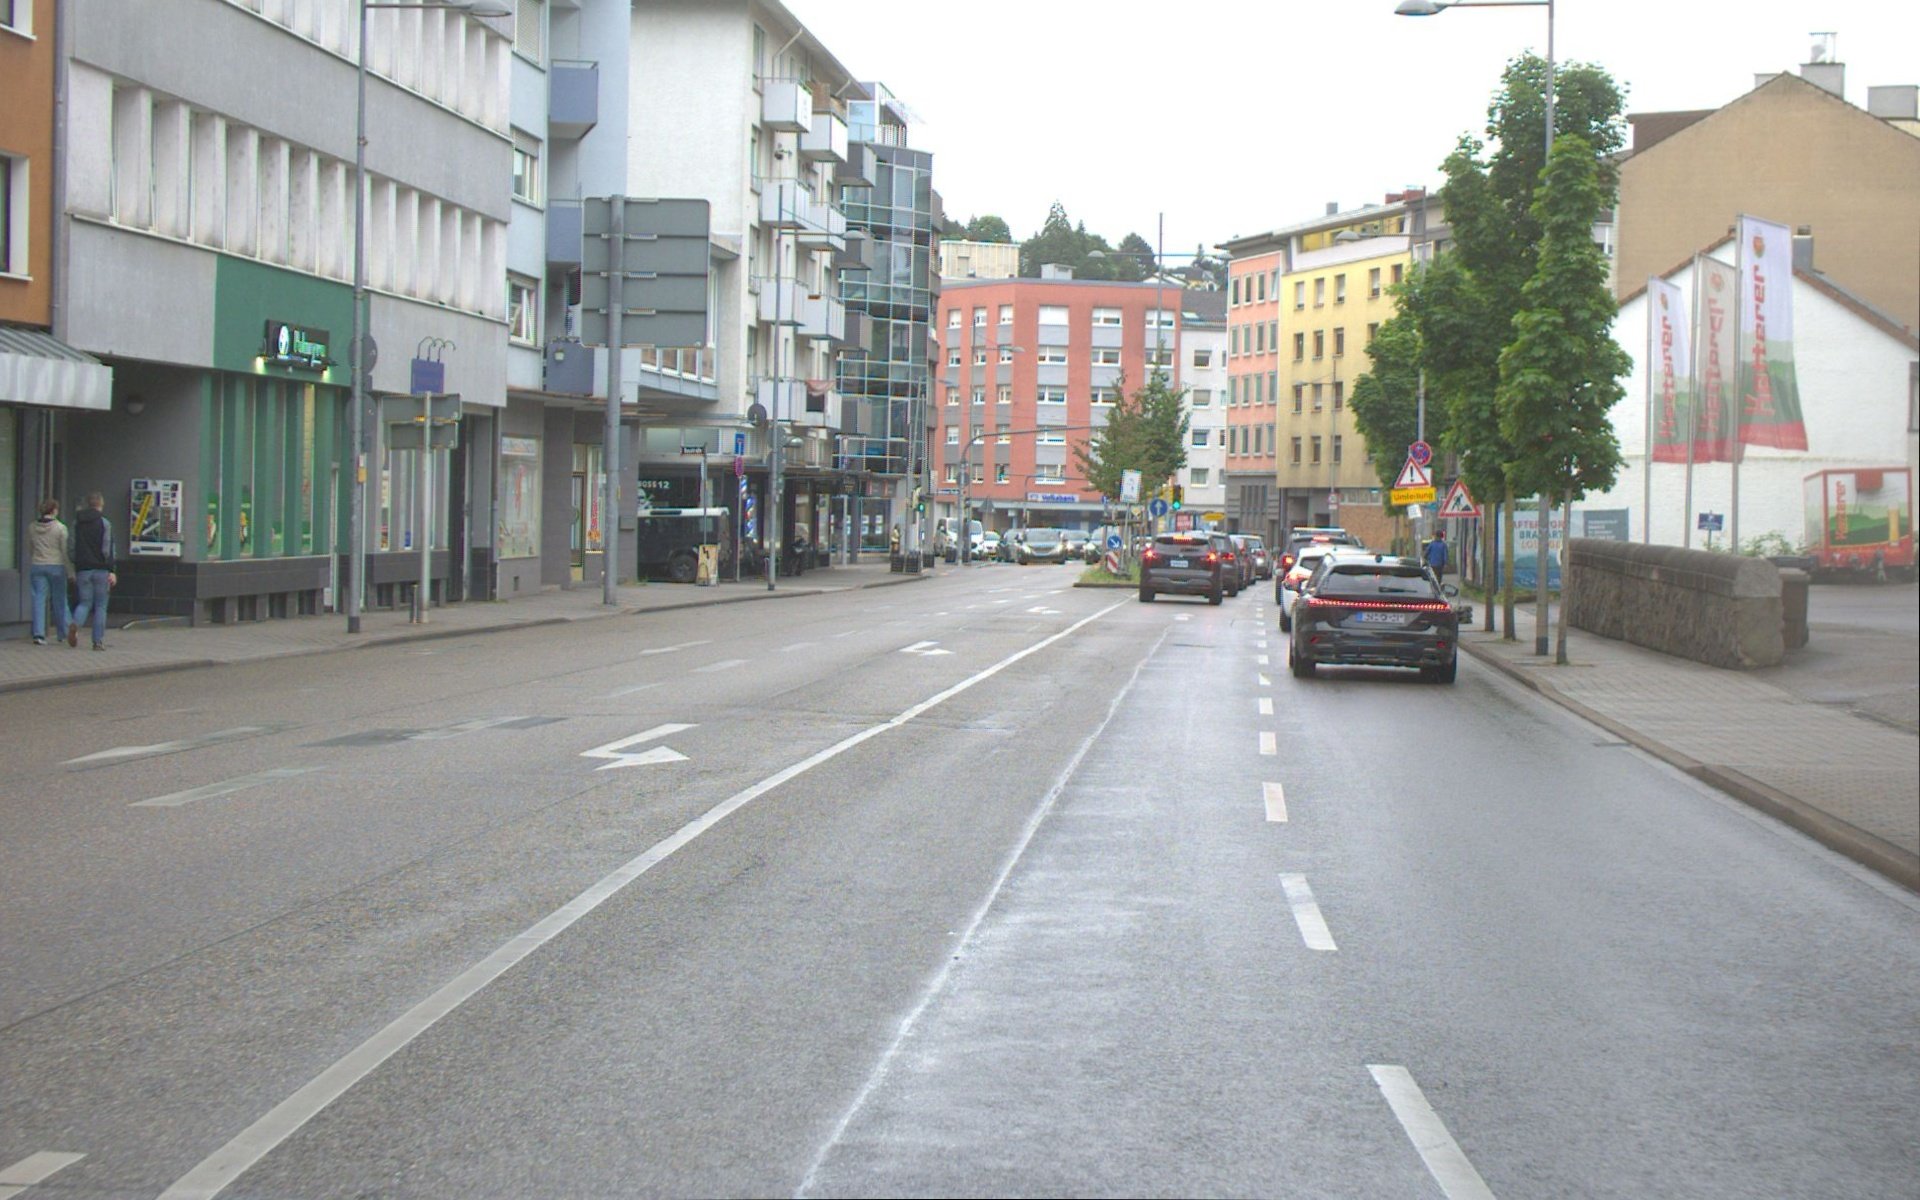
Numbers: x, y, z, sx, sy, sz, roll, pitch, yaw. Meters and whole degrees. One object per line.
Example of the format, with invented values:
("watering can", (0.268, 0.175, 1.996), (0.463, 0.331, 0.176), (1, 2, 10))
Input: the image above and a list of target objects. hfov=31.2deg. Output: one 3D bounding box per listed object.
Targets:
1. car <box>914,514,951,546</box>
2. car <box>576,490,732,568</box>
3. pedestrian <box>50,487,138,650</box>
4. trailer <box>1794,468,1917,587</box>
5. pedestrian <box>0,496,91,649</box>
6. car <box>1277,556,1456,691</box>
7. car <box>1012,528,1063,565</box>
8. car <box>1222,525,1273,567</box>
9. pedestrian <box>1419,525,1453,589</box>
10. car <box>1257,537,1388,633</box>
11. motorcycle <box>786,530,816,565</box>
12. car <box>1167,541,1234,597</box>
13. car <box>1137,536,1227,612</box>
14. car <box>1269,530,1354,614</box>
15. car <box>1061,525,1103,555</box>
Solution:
("car", (-1.353, -3.473, 170.344), (1.455, 1.425, 3.371), (3, 2, -6))
("car", (-8.288, -1.941, 93.322), (3.964, 2.027, 1.580), (1, 1, 6))
("pedestrian", (-9.792, -0.364, 38.892), (0.575, 1.782, 0.826), (5, 1, 5))
("trailer", (21.246, -1.752, 81.771), (2.127, 2.707, 5.390), (-1, 2, 8))
("pedestrian", (-10.395, -0.319, 39.028), (0.630, 1.669, 0.908), (5, 2, 4))
("car", (4.744, 0.231, 40.651), (1.790, 1.398, 4.633), (2, 2, 3))
("car", (3.229, -2.246, 142.839), (1.708, 1.463, 4.828), (-1, 1, 6))
("car", (9.501, -1.804, 113.809), (1.641, 1.376, 3.348), (0, 1, 4))
("pedestrian", (13.282, -1.203, 95.907), (0.792, 1.749, 0.871), (0, 1, 19))
("car", (6.147, -0.281, 58.641), (1.665, 1.391, 3.867), (4, 3, -1))
("motorcycle", (-4.756, -1.577, 103.046), (0.526, 0.992, 2.136), (3, 2, 7))
("car", (6.125, -0.806, 87.514), (1.641, 1.376, 3.348), (0, 1, 4))
("car", (5.076, -0.613, 78.272), (1.823, 1.595, 3.718), (3, 2, 6))
("car", (8.362, -0.690, 81.638), (1.831, 1.799, 3.718), (3, 3, 7))
("car", (5.898, -2.929, 166.905), (1.720, 1.418, 4.166), (-1, 1, -2))
